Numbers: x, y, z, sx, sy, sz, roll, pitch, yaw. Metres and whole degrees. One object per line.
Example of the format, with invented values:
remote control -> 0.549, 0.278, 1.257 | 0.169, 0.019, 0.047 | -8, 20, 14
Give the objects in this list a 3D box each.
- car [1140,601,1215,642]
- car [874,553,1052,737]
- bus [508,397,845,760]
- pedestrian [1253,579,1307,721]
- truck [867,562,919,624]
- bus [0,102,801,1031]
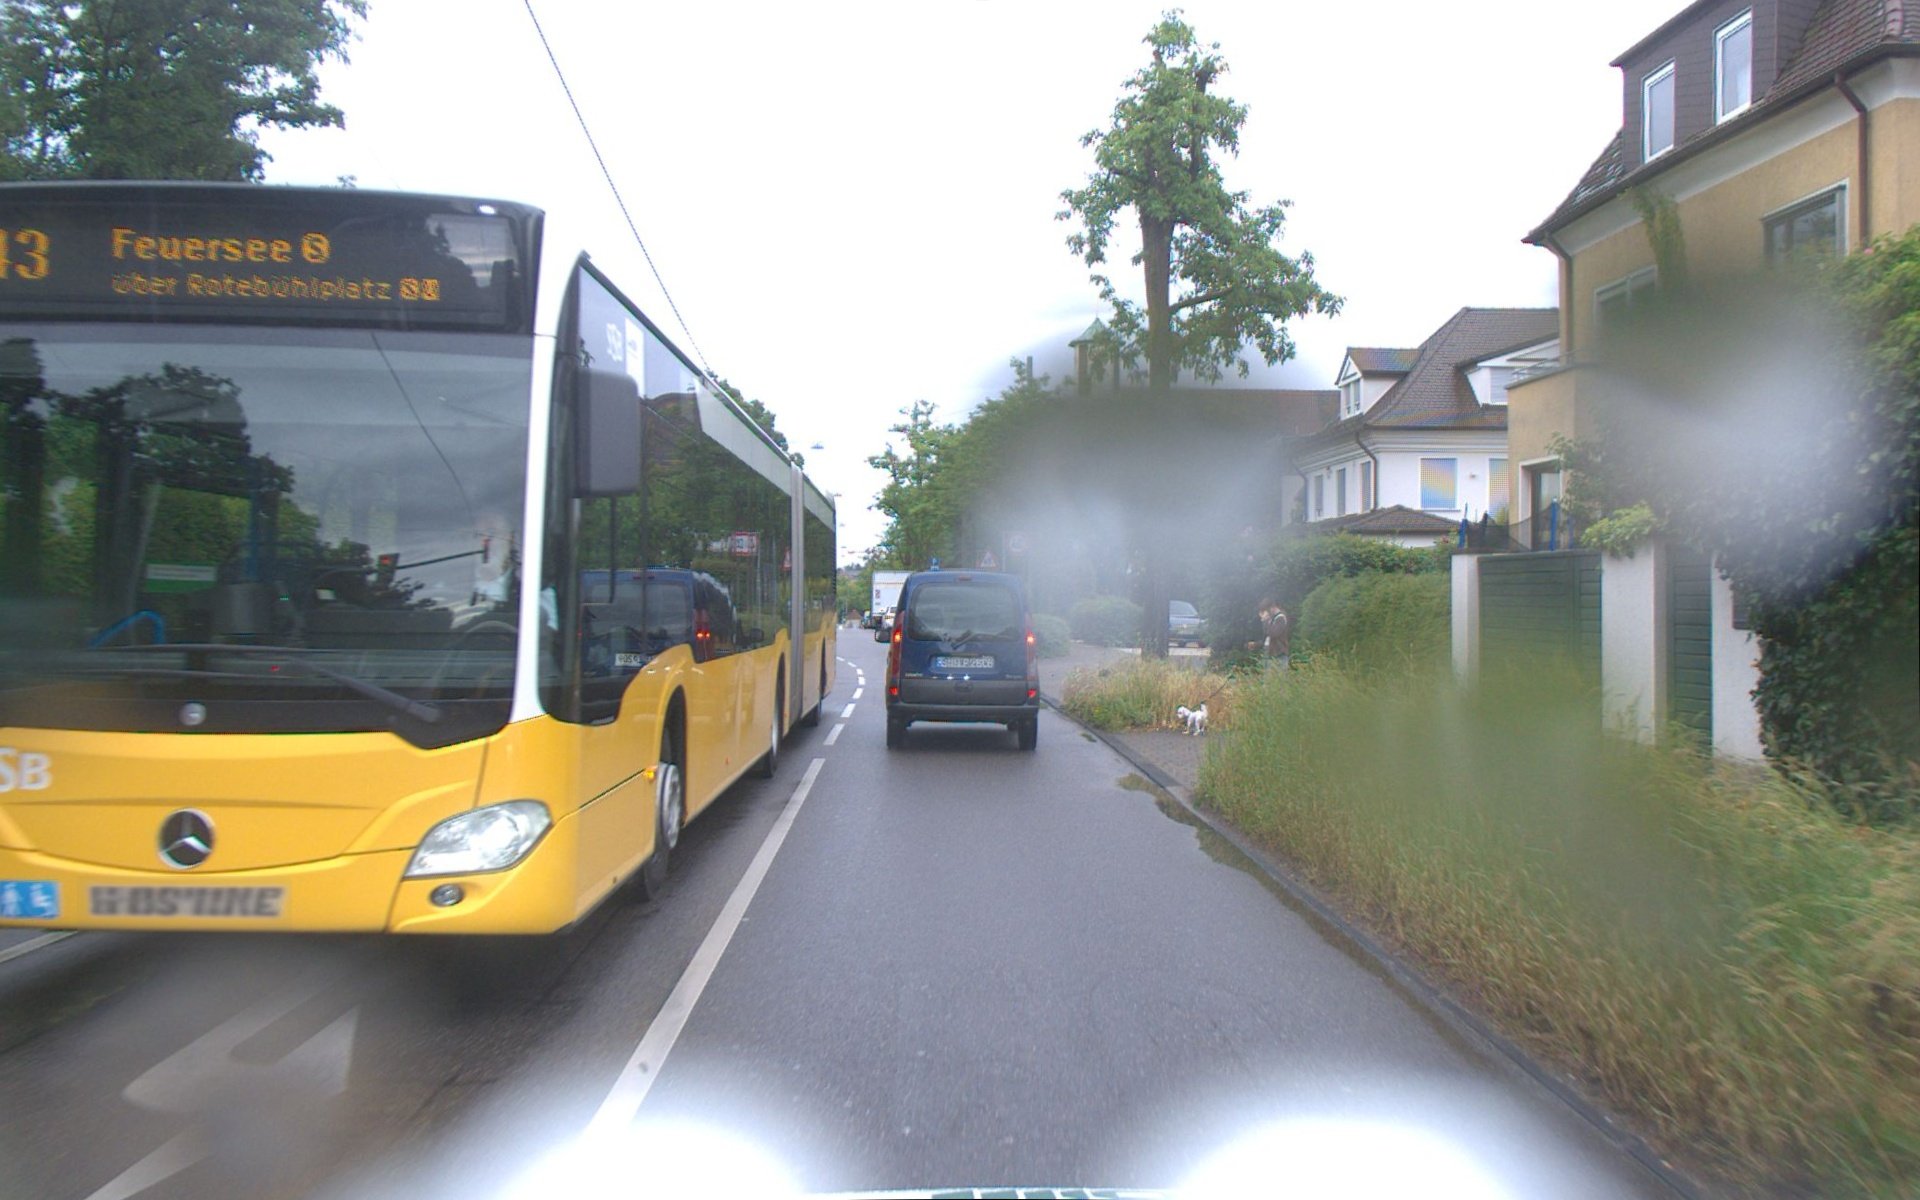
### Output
car -> 6.707, 0.643, 51.347 | 1.794, 1.197, 4.000 | 1, 0, 0
car -> -0.034, 0.451, 18.492 | 1.772, 1.829, 3.998 | 0, 0, -2
bus -> -2.835, -0.178, 19.122 | 2.542, 3.213, 8.633 | 1, 0, -1
pedestrian -> 3.556, 0.550, 18.408 | 0.472, 1.561, 0.439 | 1, 0, -5
truck -> -3.962, -0.378, 96.437 | 2.678, 3.446, 6.678 | 0, 0, -5
bus -> -2.641, -0.100, 10.172 | 2.590, 3.098, 9.227 | 1, 0, -1
